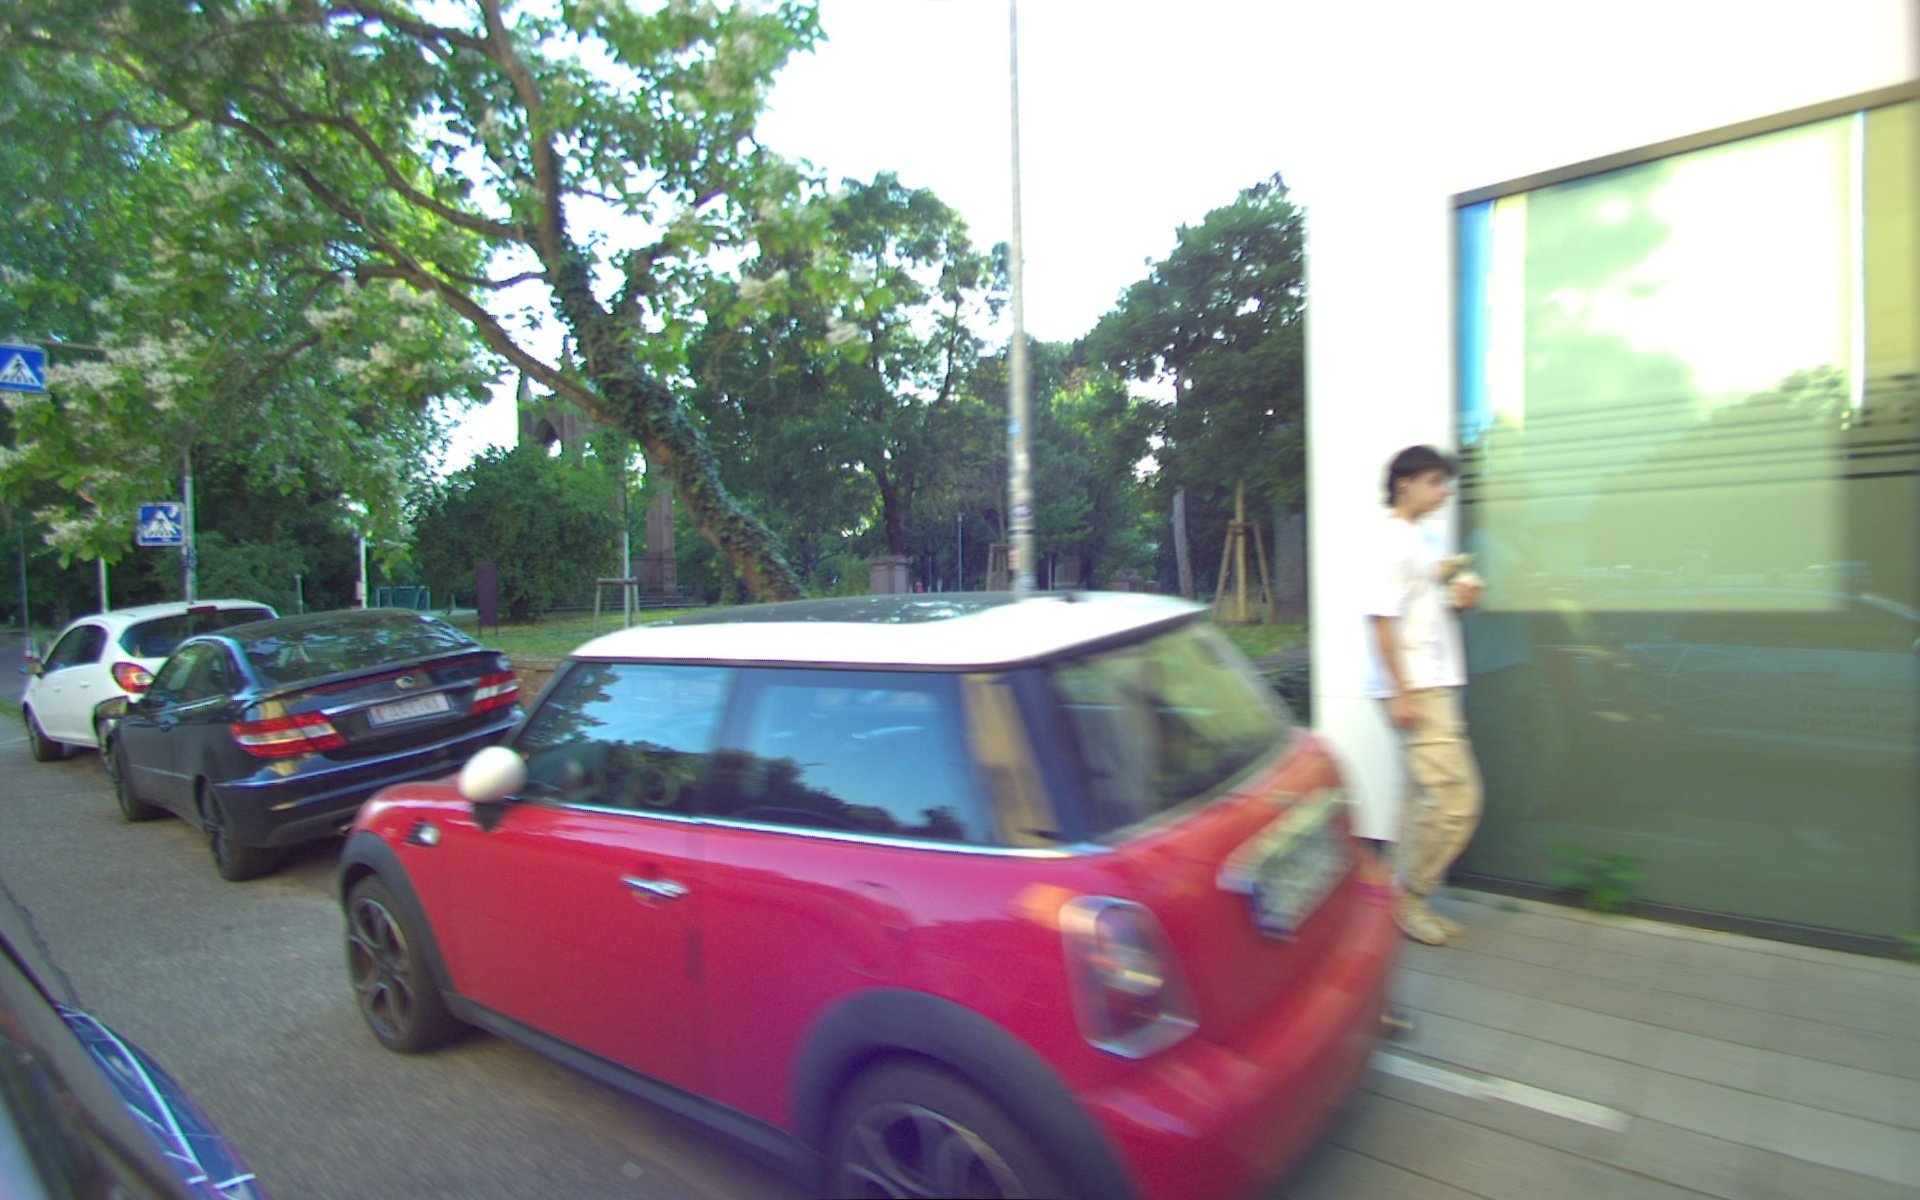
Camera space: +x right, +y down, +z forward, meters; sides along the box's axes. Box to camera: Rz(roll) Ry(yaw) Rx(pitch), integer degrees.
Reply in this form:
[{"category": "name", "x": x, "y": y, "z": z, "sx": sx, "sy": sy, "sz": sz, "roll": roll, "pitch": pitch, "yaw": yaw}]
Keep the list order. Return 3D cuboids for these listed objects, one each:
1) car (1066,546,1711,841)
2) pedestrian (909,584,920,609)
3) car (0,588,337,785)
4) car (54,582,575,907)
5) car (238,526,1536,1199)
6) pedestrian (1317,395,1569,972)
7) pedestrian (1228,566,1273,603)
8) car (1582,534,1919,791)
[{"category": "car", "x": 2.810, "y": 0.520, "z": 7.137, "sx": 3.874, "sy": 1.534, "sz": 1.576, "roll": -2, "pitch": 0, "yaw": 41}, {"category": "pedestrian", "x": -3.116, "y": -0.236, "z": 69.424, "sx": 0.657, "sy": 1.681, "sz": 0.668, "roll": -1, "pitch": 1, "yaw": -13}, {"category": "car", "x": -8.055, "y": 0.770, "z": 10.103, "sx": 3.875, "sy": 1.525, "sz": 1.648, "roll": -2, "pitch": 3, "yaw": 35}, {"category": "car", "x": -4.618, "y": 0.747, "z": 6.942, "sx": 4.410, "sy": 1.426, "sz": 1.646, "roll": -2, "pitch": 5, "yaw": 40}, {"category": "car", "x": -0.555, "y": 0.657, "z": 3.207, "sx": 3.921, "sy": 1.421, "sz": 1.647, "roll": -2, "pitch": 5, "yaw": 38}, {"category": "pedestrian", "x": 1.818, "y": 0.273, "z": 3.797, "sx": 0.620, "sy": 1.892, "sz": 0.713, "roll": -2, "pitch": -1, "yaw": 42}, {"category": "pedestrian", "x": 11.843, "y": -0.618, "z": 41.256, "sx": 1.219, "sy": 1.437, "sz": 1.283, "roll": -2, "pitch": -1, "yaw": -43}, {"category": "car", "x": 6.764, "y": 0.393, "z": 7.207, "sx": 3.735, "sy": 1.671, "sz": 1.680, "roll": -2, "pitch": 0, "yaw": 41}]
